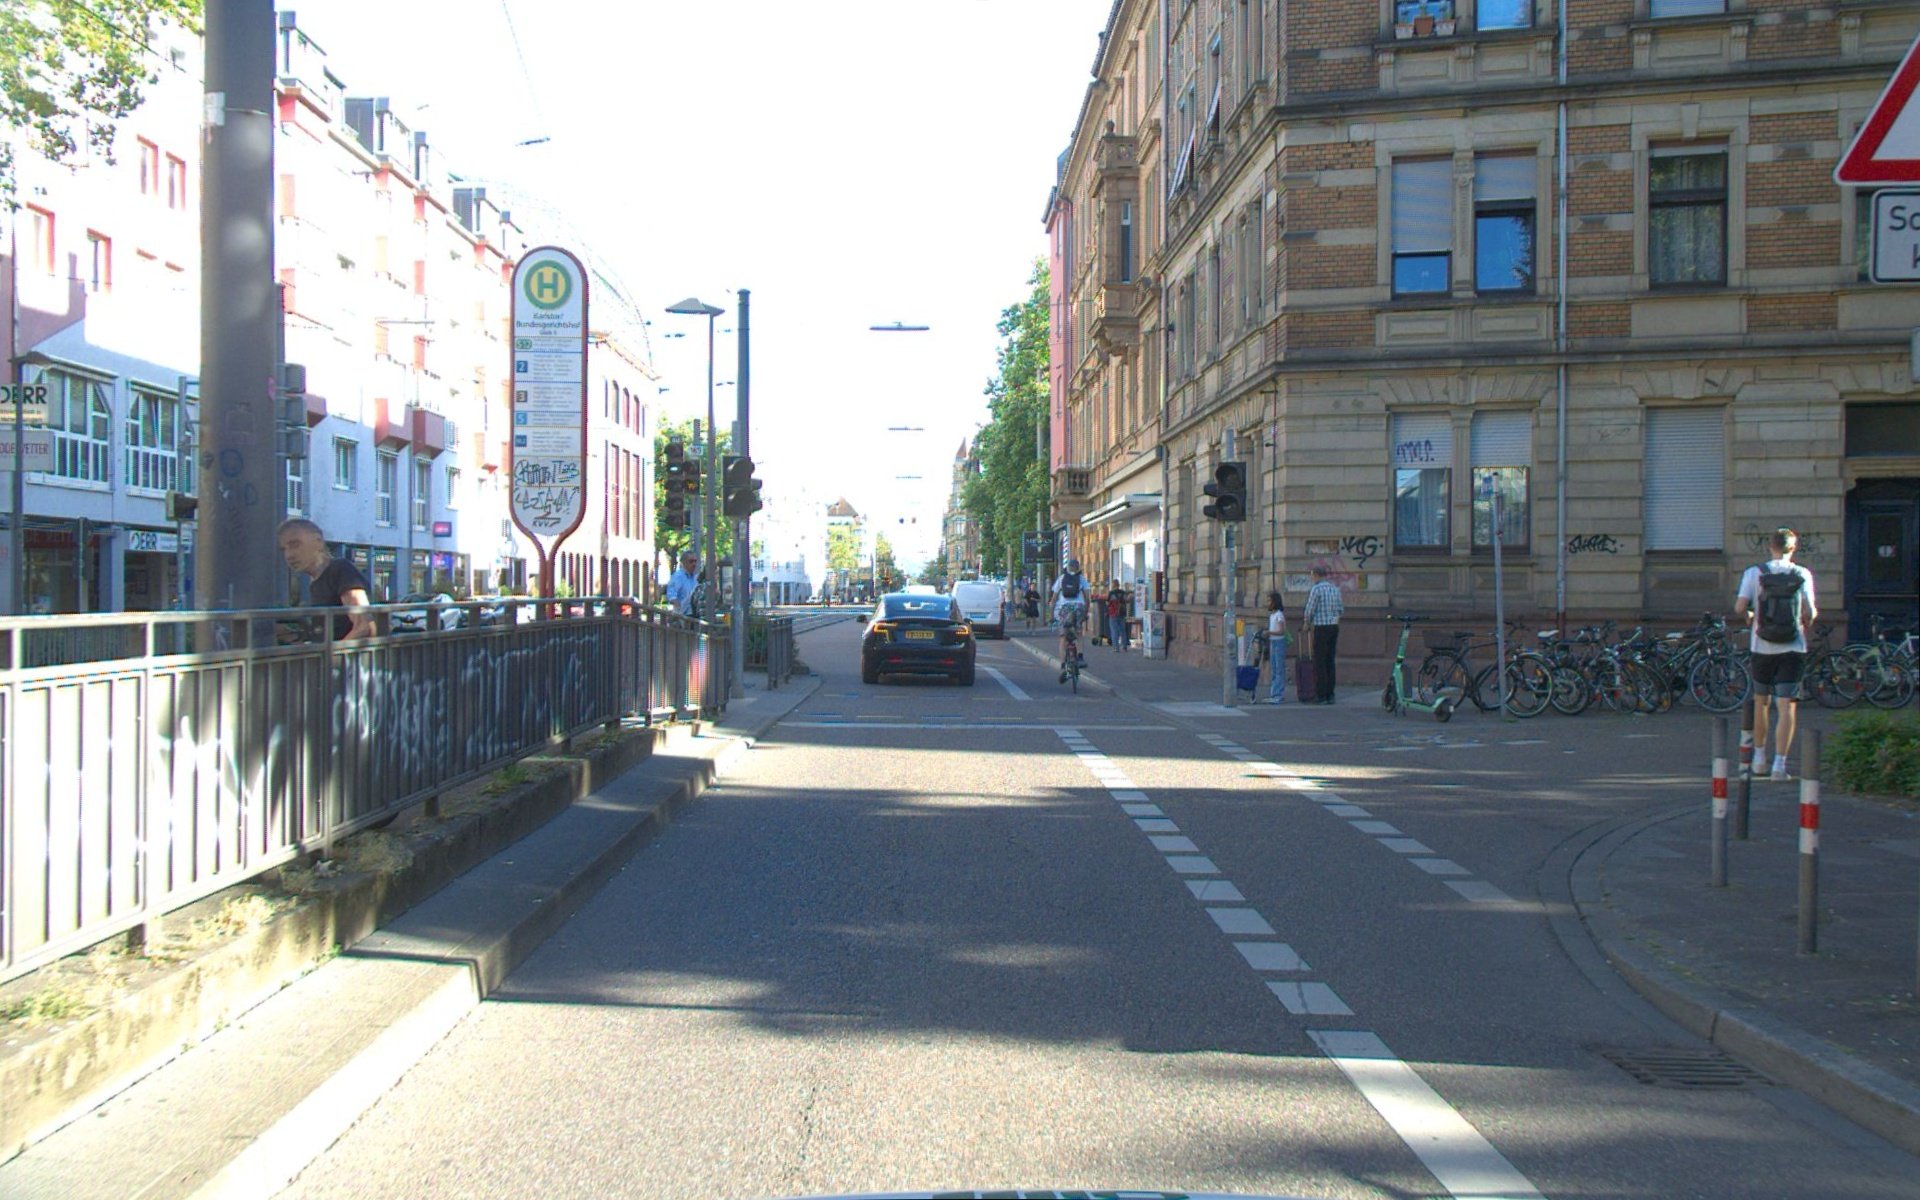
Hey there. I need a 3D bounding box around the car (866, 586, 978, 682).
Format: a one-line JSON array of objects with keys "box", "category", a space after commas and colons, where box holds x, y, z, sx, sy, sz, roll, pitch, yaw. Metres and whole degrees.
[{"box": [-0.660, 0.509, 27.372, 1.685, 1.430, 3.708, 1, 0, -2], "category": "car"}]

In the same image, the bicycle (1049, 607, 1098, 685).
[{"box": [1.782, 0.696, 26.162, 0.634, 1.159, 2.096, 1, 0, 1], "category": "bicycle"}]

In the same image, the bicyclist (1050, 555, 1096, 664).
[{"box": [1.781, 0.148, 26.190, 0.641, 1.684, 0.927, 1, 0, 0], "category": "bicyclist"}]

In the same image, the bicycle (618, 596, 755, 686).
[{"box": [-3.788, 0.555, 22.815, 1.904, 1.113, 0.597, 3, 0, 32], "category": "bicycle"}]

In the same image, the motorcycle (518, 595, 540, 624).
[{"box": [-20.252, 0.457, 77.718, 0.508, 1.320, 2.081, 2, 0, -2], "category": "motorcycle"}]

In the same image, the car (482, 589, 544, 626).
[{"box": [-18.633, 0.307, 69.132, 1.717, 1.500, 4.204, 0, 0, -4], "category": "car"}]

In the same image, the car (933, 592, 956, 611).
[{"box": [-1.252, 0.123, 128.202, 1.676, 1.482, 4.549, 1, 0, -2], "category": "car"}]

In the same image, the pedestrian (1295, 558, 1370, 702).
[{"box": [4.827, 0.375, 21.487, 0.829, 1.839, 0.876, 0, 1, 3], "category": "pedestrian"}]

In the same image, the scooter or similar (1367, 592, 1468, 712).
[{"box": [5.266, 0.571, 19.107, 0.384, 1.311, 1.515, 0, 1, -17], "category": "scooter or similar"}]

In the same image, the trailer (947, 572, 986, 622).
[{"box": [0.294, -0.120, 74.600, 1.627, 2.154, 3.842, 2, 0, 0], "category": "trailer"}]

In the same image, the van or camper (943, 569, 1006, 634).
[{"box": [0.447, 0.064, 57.192, 1.892, 2.072, 5.473, 2, 0, -2], "category": "van or camper"}]

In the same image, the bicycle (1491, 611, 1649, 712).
[{"box": [7.293, 0.713, 19.846, 0.440, 1.134, 1.787, 0, 0, -42], "category": "bicycle"}]

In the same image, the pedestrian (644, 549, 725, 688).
[{"box": [-3.774, 0.246, 22.733, 0.582, 1.853, 0.940, 2, 0, 31], "category": "pedestrian"}]

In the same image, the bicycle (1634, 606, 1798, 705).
[{"box": [9.116, 0.647, 20.009, 0.440, 1.134, 1.787, 0, 0, -42], "category": "bicycle"}]

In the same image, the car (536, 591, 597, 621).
[{"box": [-19.086, 0.281, 80.403, 1.921, 1.348, 4.818, 2, 0, -3], "category": "car"}]

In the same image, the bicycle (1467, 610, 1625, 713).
[{"box": [6.913, 0.703, 19.576, 0.440, 1.134, 1.787, 0, 0, -41], "category": "bicycle"}]

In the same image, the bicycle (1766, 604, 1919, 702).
[{"box": [10.873, 0.630, 20.252, 0.440, 1.134, 1.787, 0, 0, -42], "category": "bicycle"}]

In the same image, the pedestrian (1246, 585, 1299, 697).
[{"box": [4.127, 0.536, 21.888, 0.562, 1.439, 0.581, 2, 0, 1], "category": "pedestrian"}]

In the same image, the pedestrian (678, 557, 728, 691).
[{"box": [-3.206, 0.294, 20.620, 0.508, 1.618, 0.665, 3, 0, -11], "category": "pedestrian"}]

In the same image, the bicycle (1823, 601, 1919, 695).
[{"box": [11.747, 0.590, 20.599, 0.439, 1.134, 1.794, 0, 0, -33], "category": "bicycle"}]

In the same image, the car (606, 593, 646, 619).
[{"box": [-19.273, 0.337, 95.519, 1.626, 1.447, 3.619, 2, 0, -2], "category": "car"}]

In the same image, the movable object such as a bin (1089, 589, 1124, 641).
[{"box": [3.914, 0.386, 44.175, 0.760, 1.371, 1.298, 0, 0, -3], "category": "movable object such as a bin"}]

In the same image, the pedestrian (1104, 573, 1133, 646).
[{"box": [3.813, 0.223, 39.838, 0.461, 1.758, 0.586, 0, 1, 34], "category": "pedestrian"}]

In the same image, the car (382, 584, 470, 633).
[{"box": [-18.338, 0.268, 56.989, 1.879, 1.642, 4.366, 0, 0, -4], "category": "car"}]

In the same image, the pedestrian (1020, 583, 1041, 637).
[{"box": [2.412, 0.353, 56.863, 0.659, 1.846, 0.755, 0, 0, -3], "category": "pedestrian"}]

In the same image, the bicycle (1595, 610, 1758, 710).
[{"box": [8.576, 0.694, 19.865, 0.440, 1.134, 1.787, 0, 0, -42], "category": "bicycle"}]

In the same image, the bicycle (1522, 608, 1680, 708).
[{"box": [7.748, 0.679, 20.057, 0.440, 1.134, 1.787, 0, 0, -42], "category": "bicycle"}]

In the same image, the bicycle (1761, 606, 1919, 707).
[{"box": [10.617, 0.654, 19.835, 0.440, 1.134, 1.787, 0, 0, -42], "category": "bicycle"}]

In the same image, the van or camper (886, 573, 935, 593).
[{"box": [-7.021, -2.443, 233.525, 6.795, 2.700, 2.122, -1, 1, -33], "category": "van or camper"}]

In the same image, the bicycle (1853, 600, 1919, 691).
[{"box": [12.242, 0.573, 20.801, 0.439, 1.134, 1.794, 0, 0, -33], "category": "bicycle"}]

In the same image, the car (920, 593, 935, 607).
[{"box": [-3.504, -0.001, 178.558, 1.561, 1.458, 3.685, 0, 0, -1], "category": "car"}]

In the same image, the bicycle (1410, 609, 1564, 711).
[{"box": [6.230, 0.687, 19.627, 0.440, 1.134, 1.787, 0, 0, -41], "category": "bicycle"}]

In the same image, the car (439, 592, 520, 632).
[{"box": [-18.456, 0.437, 63.684, 1.863, 1.483, 4.824, 0, 0, -2], "category": "car"}]

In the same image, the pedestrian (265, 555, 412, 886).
[{"box": [-2.635, 0.489, 7.020, 0.470, 1.352, 0.354, 0, 0, 28], "category": "pedestrian"}]

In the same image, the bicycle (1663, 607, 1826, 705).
[{"box": [9.585, 0.661, 20.255, 0.440, 1.134, 1.787, 0, 0, -42], "category": "bicycle"}]

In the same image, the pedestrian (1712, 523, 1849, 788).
[{"box": [6.519, 0.413, 13.178, 0.700, 2.019, 0.944, 1, 1, 10], "category": "pedestrian"}]
